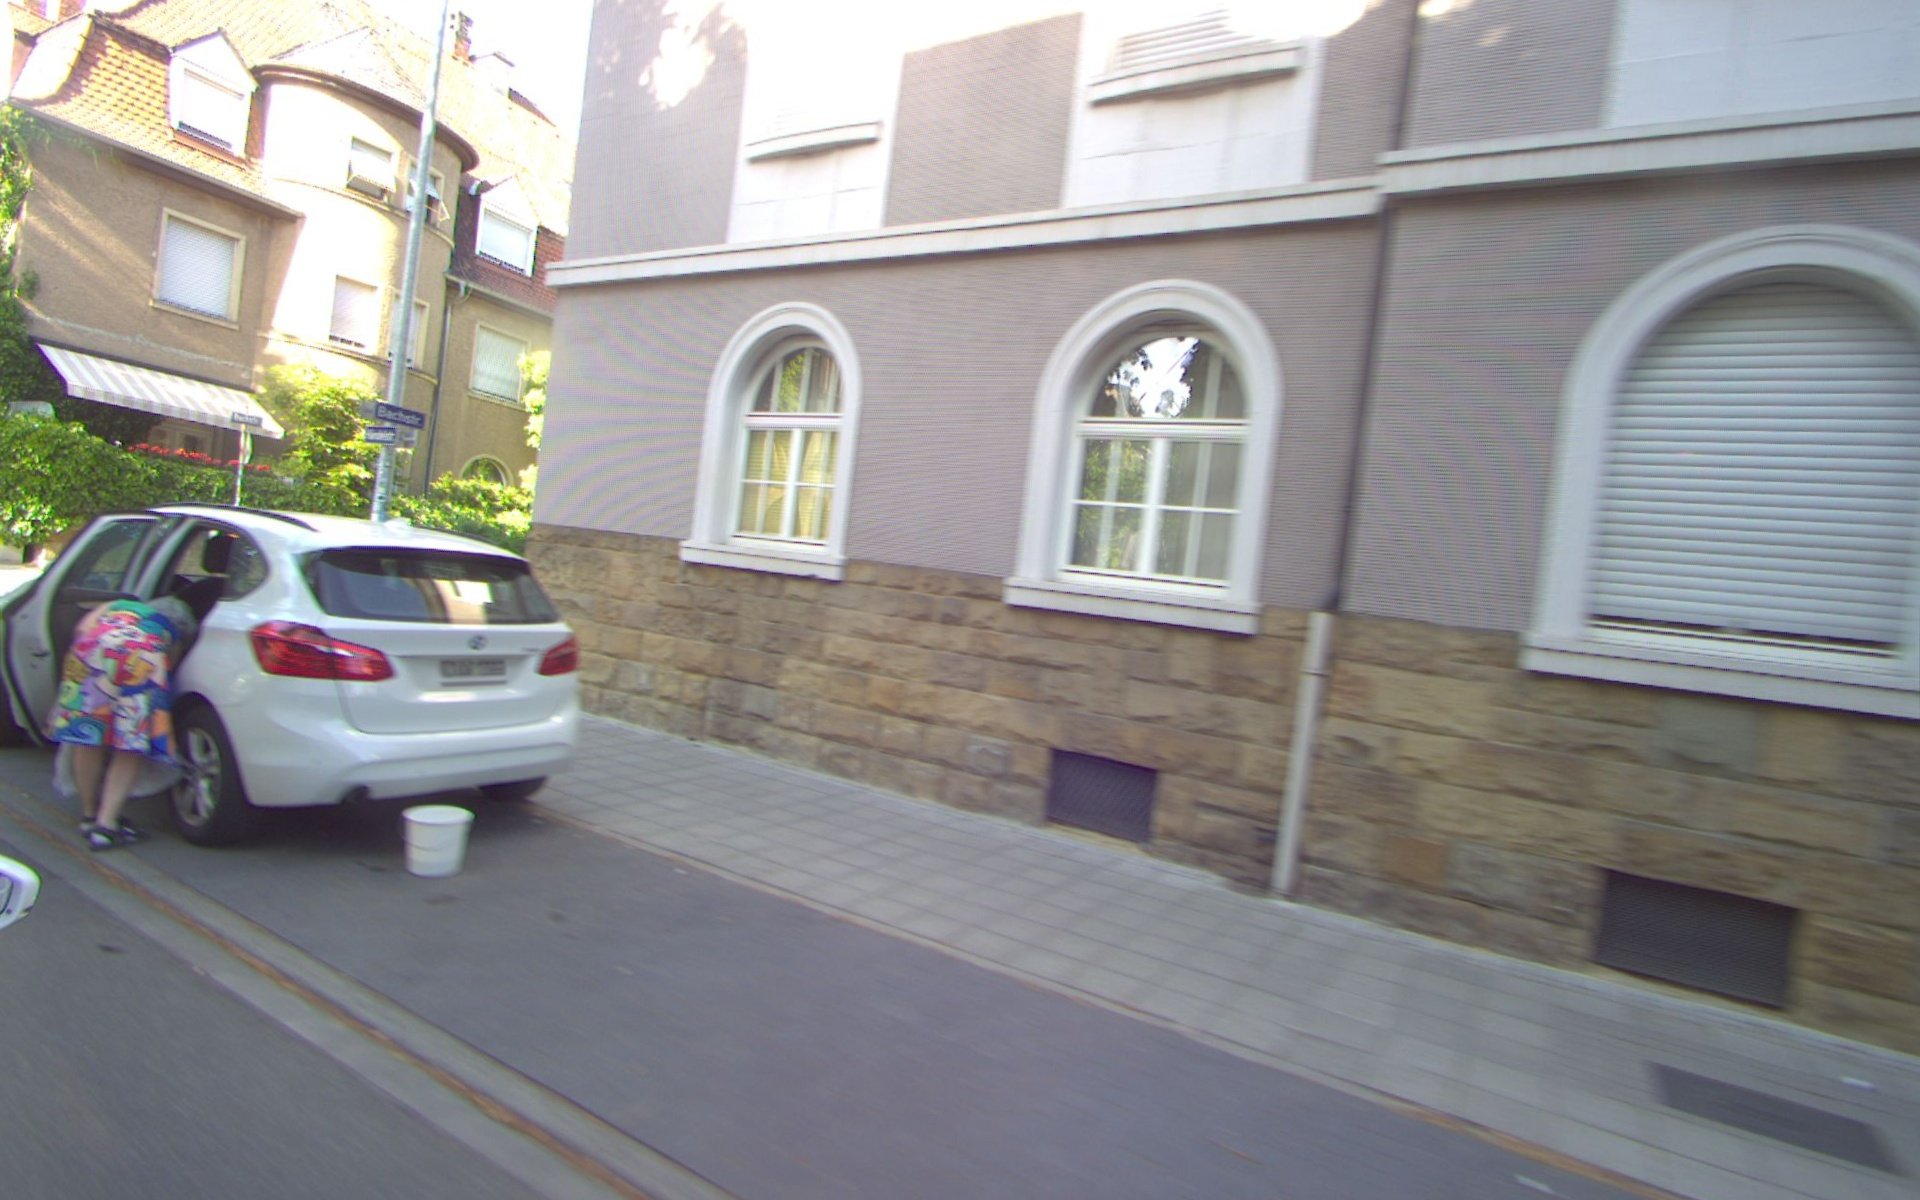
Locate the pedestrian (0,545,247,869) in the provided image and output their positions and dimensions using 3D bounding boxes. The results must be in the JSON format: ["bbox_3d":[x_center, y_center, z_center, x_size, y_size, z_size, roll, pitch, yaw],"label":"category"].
[{"bbox_3d":[-3.843,0.443,4.530,0.634,1.273,0.725,7,1,24],"label":"pedestrian"}]

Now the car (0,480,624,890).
[{"bbox_3d":[-4.118,0.247,5.911,4.084,1.560,1.700,7,2,30],"label":"car"}]
